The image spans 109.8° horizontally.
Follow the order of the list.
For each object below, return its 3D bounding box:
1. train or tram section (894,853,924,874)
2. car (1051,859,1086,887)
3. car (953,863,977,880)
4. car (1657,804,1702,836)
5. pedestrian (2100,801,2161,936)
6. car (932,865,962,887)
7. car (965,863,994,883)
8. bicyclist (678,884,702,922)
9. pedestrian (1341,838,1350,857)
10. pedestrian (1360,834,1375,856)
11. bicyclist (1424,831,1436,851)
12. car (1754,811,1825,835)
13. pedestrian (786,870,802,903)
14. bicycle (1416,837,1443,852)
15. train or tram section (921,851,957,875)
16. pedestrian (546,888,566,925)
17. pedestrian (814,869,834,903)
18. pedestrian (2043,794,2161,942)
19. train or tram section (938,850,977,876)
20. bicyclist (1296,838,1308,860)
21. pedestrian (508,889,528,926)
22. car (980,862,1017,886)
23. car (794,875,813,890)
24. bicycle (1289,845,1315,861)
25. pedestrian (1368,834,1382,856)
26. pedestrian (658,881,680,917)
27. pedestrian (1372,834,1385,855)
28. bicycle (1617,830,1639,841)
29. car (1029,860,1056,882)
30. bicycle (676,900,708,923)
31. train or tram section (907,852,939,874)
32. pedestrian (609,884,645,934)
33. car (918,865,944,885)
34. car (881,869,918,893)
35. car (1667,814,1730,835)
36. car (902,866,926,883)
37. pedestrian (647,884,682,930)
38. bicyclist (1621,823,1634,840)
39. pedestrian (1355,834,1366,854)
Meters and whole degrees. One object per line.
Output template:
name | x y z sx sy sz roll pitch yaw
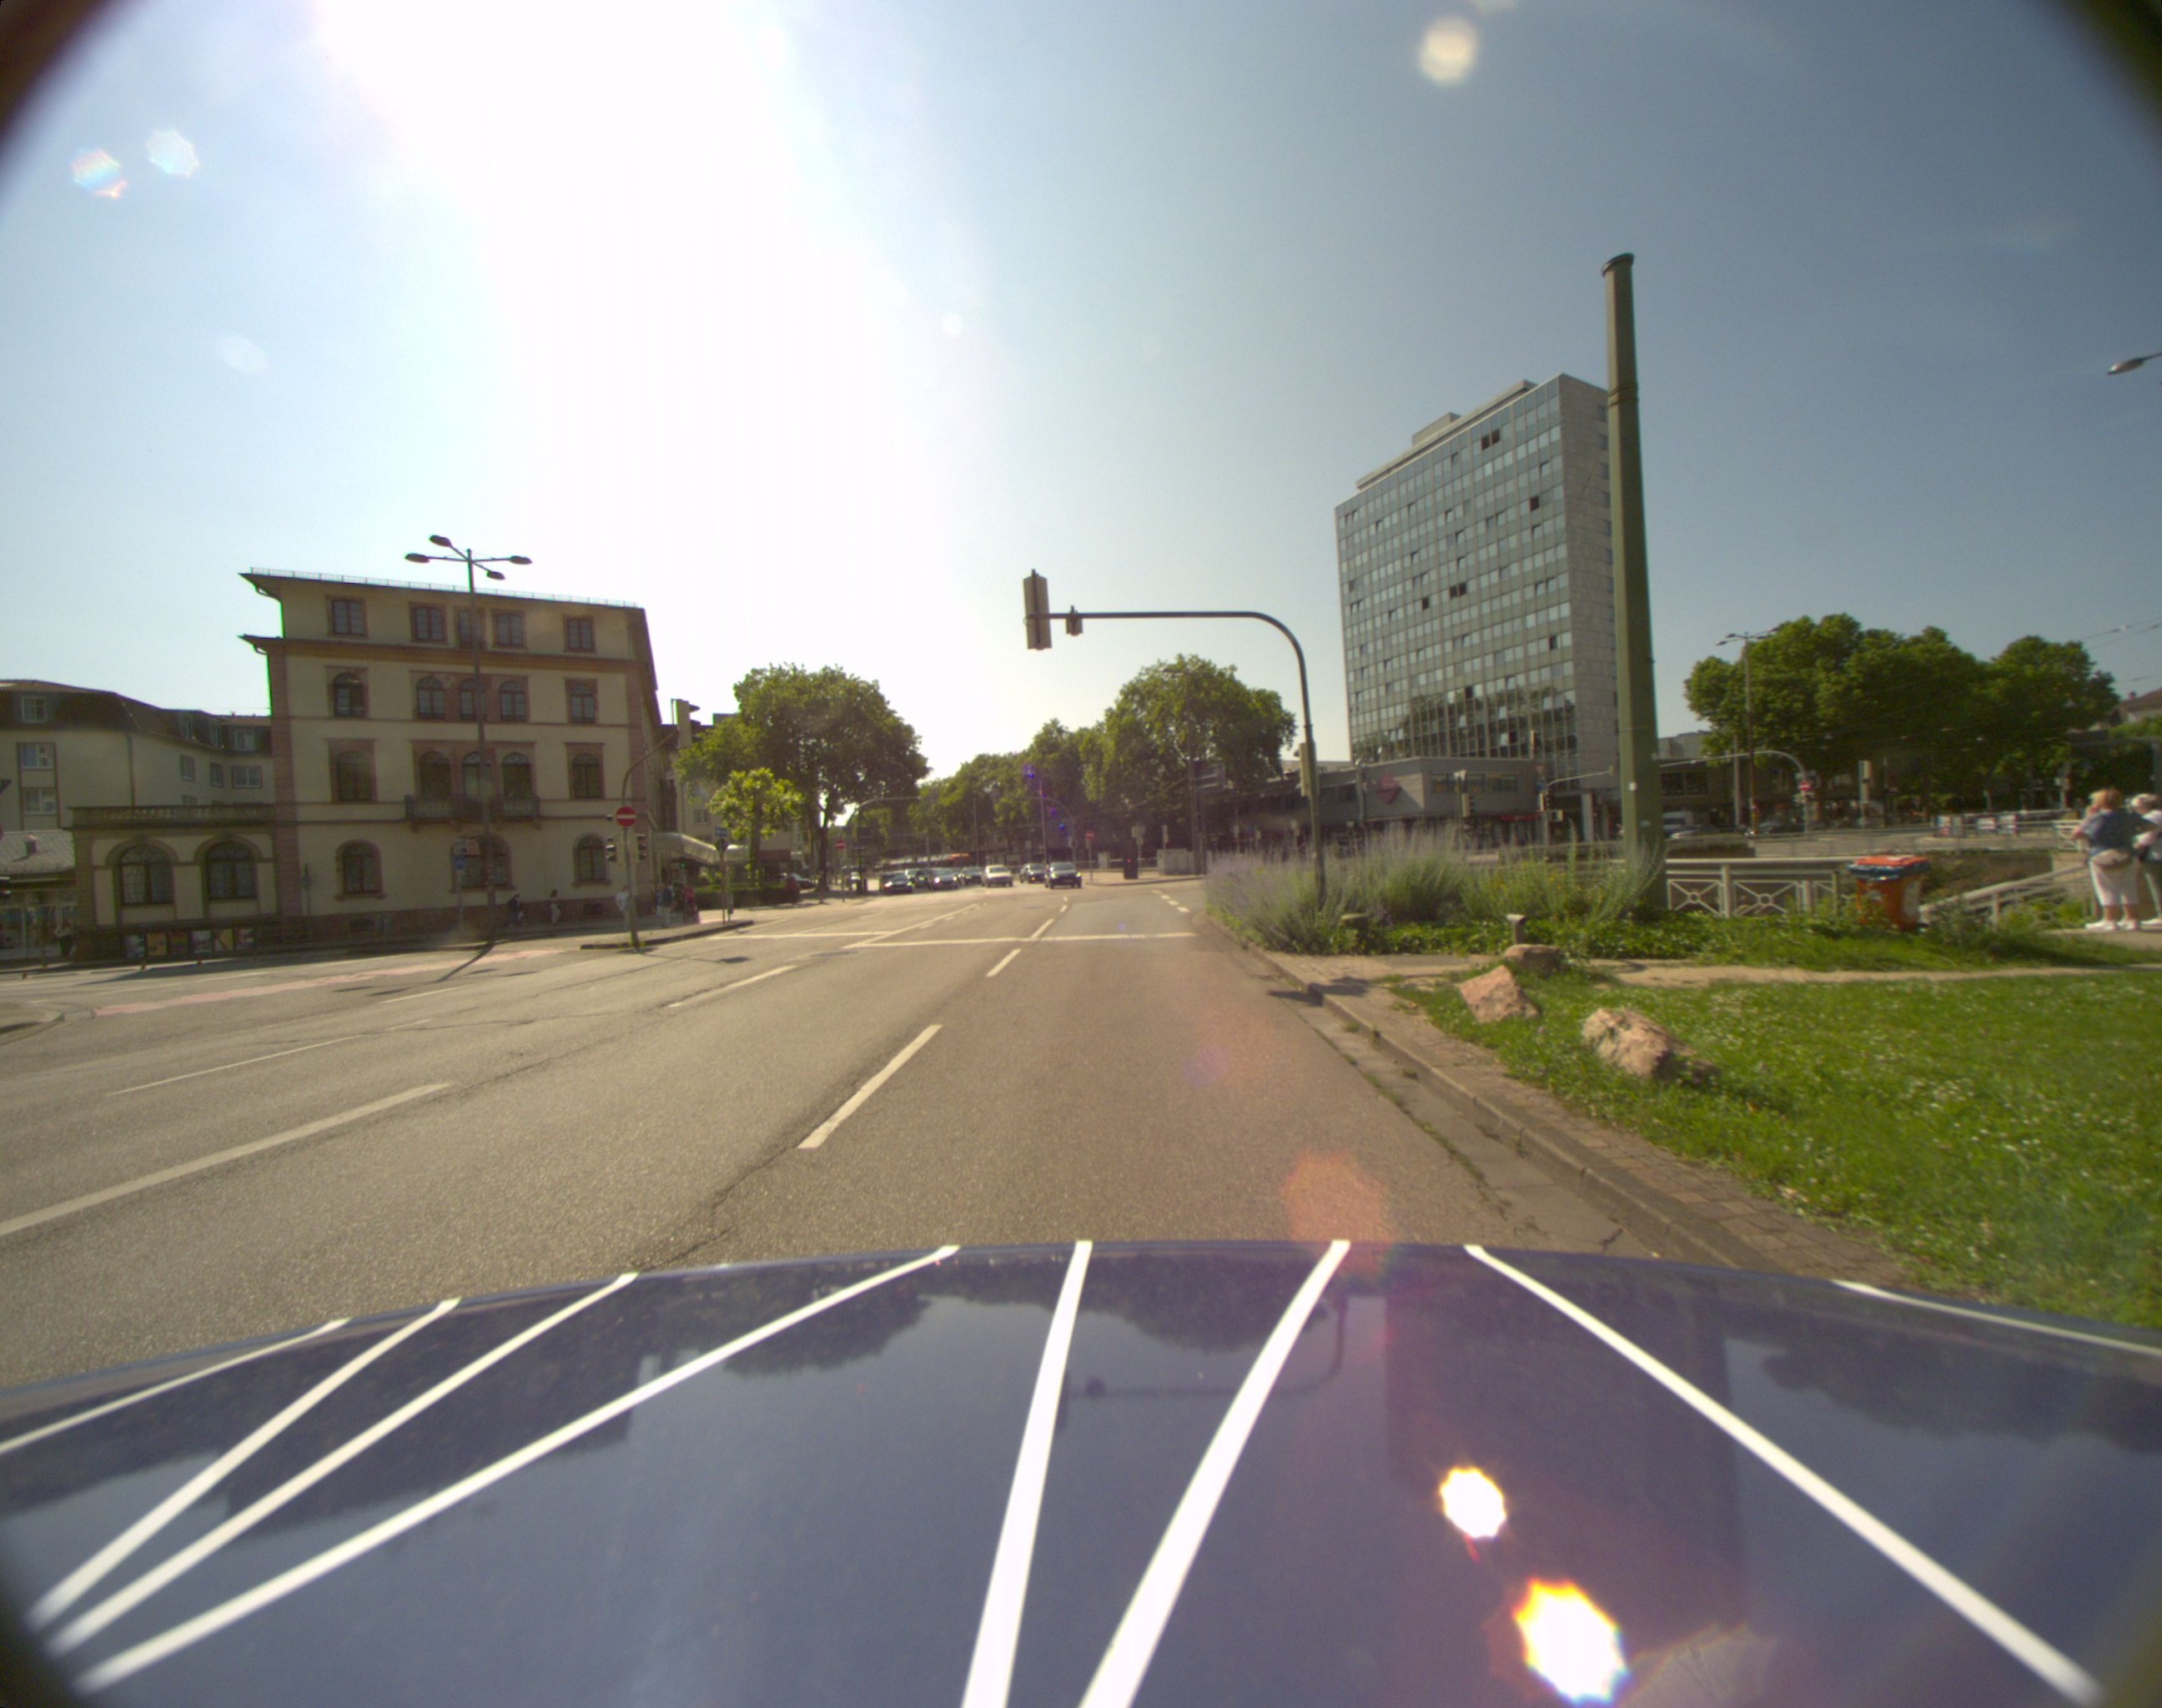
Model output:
train or tram section | -29.642 1.691 130.645 2.738 3.248 8.719 -4 0 -28
car | -0.660 1.056 43.238 1.791 1.443 4.280 -2 0 1
car | -10.680 1.572 69.751 1.793 1.514 3.969 -2 0 -14
car | 59.945 -3.385 76.092 4.642 2.899 1.744 -4 0 -29
pedestrian | 12.375 0.144 8.727 0.851 1.501 0.474 -4 1 -15
car | -9.509 1.544 53.748 1.793 1.443 3.969 -2 0 -13
car | -8.181 1.490 60.966 1.793 1.514 3.969 -2 0 -14
bicyclist | -16.995 2.115 33.017 0.593 1.597 0.684 -4 1 -5
pedestrian | 23.917 -0.586 68.690 0.598 1.628 0.566 -2 1 28
pedestrian | 24.901 -0.791 66.019 0.824 1.825 0.733 -3 1 -27
bicyclist | 29.987 -1.101 65.348 0.683 1.677 0.584 -4 1 3
car | 52.661 -2.294 56.506 4.080 1.525 1.880 -4 0 -14
pedestrian | -16.523 1.868 43.753 0.727 1.795 0.651 -4 1 -20
bicycle | 29.992 -0.816 65.356 1.967 1.096 0.577 -4 0 3
train or tram section | -21.596 1.437 115.159 2.738 3.248 8.719 -4 0 -28
pedestrian | -24.191 2.409 35.010 0.536 1.639 0.579 -4 1 -24
pedestrian | -14.142 1.745 41.788 0.590 1.834 0.730 -3 1 40
pedestrian | 11.591 0.152 8.602 0.693 1.584 0.599 -4 1 -15
train or tram section | -17.571 1.309 107.462 2.738 3.248 8.719 -4 0 -28
bicyclist | 17.048 -0.368 58.629 0.683 1.697 0.521 -3 1 0
pedestrian | -26.378 2.507 35.588 0.536 1.639 0.673 -4 1 -24
car | -5.661 1.354 51.914 1.721 1.491 4.485 -2 -1 -16
car | -28.183 2.868 77.116 1.592 1.314 3.573 -4 0 -22
bicycle | 17.065 -0.099 58.640 1.815 1.160 0.521 -3 1 0
pedestrian | 25.287 -0.800 65.335 0.824 1.825 0.670 -3 1 -27
pedestrian | -20.031 2.187 36.949 0.845 1.685 0.743 -4 1 -28
pedestrian | 26.292 -0.863 67.113 0.823 1.825 0.671 -3 1 4
bicycle | 47.760 -1.640 66.337 1.811 0.878 0.592 -4 2 -16
car | -2.869 1.195 56.120 1.792 1.508 3.972 -2 0 -5
bicycle | -16.992 2.492 33.231 0.593 0.850 1.744 -4 0 -5
train or tram section | -25.631 1.564 122.896 2.738 3.248 8.719 -4 0 -28
pedestrian | -16.044 1.926 26.873 0.754 1.650 0.829 -4 1 -8
car | -12.514 1.750 63.245 1.793 1.521 3.968 -2 0 -16
car | -12.116 1.761 50.622 1.794 1.443 3.967 -2 0 -22
car | 51.866 -2.457 63.845 4.165 1.452 1.880 -4 0 -14
car | -15.444 1.892 70.409 1.792 1.443 3.971 -2 0 -9
pedestrian | -15.160 1.908 27.666 0.773 1.563 0.829 -4 0 -7
bicyclist | 47.740 -1.959 66.322 0.684 1.518 0.582 -4 2 -16
pedestrian | 25.220 -0.920 68.591 0.822 1.796 0.672 -2 1 11
